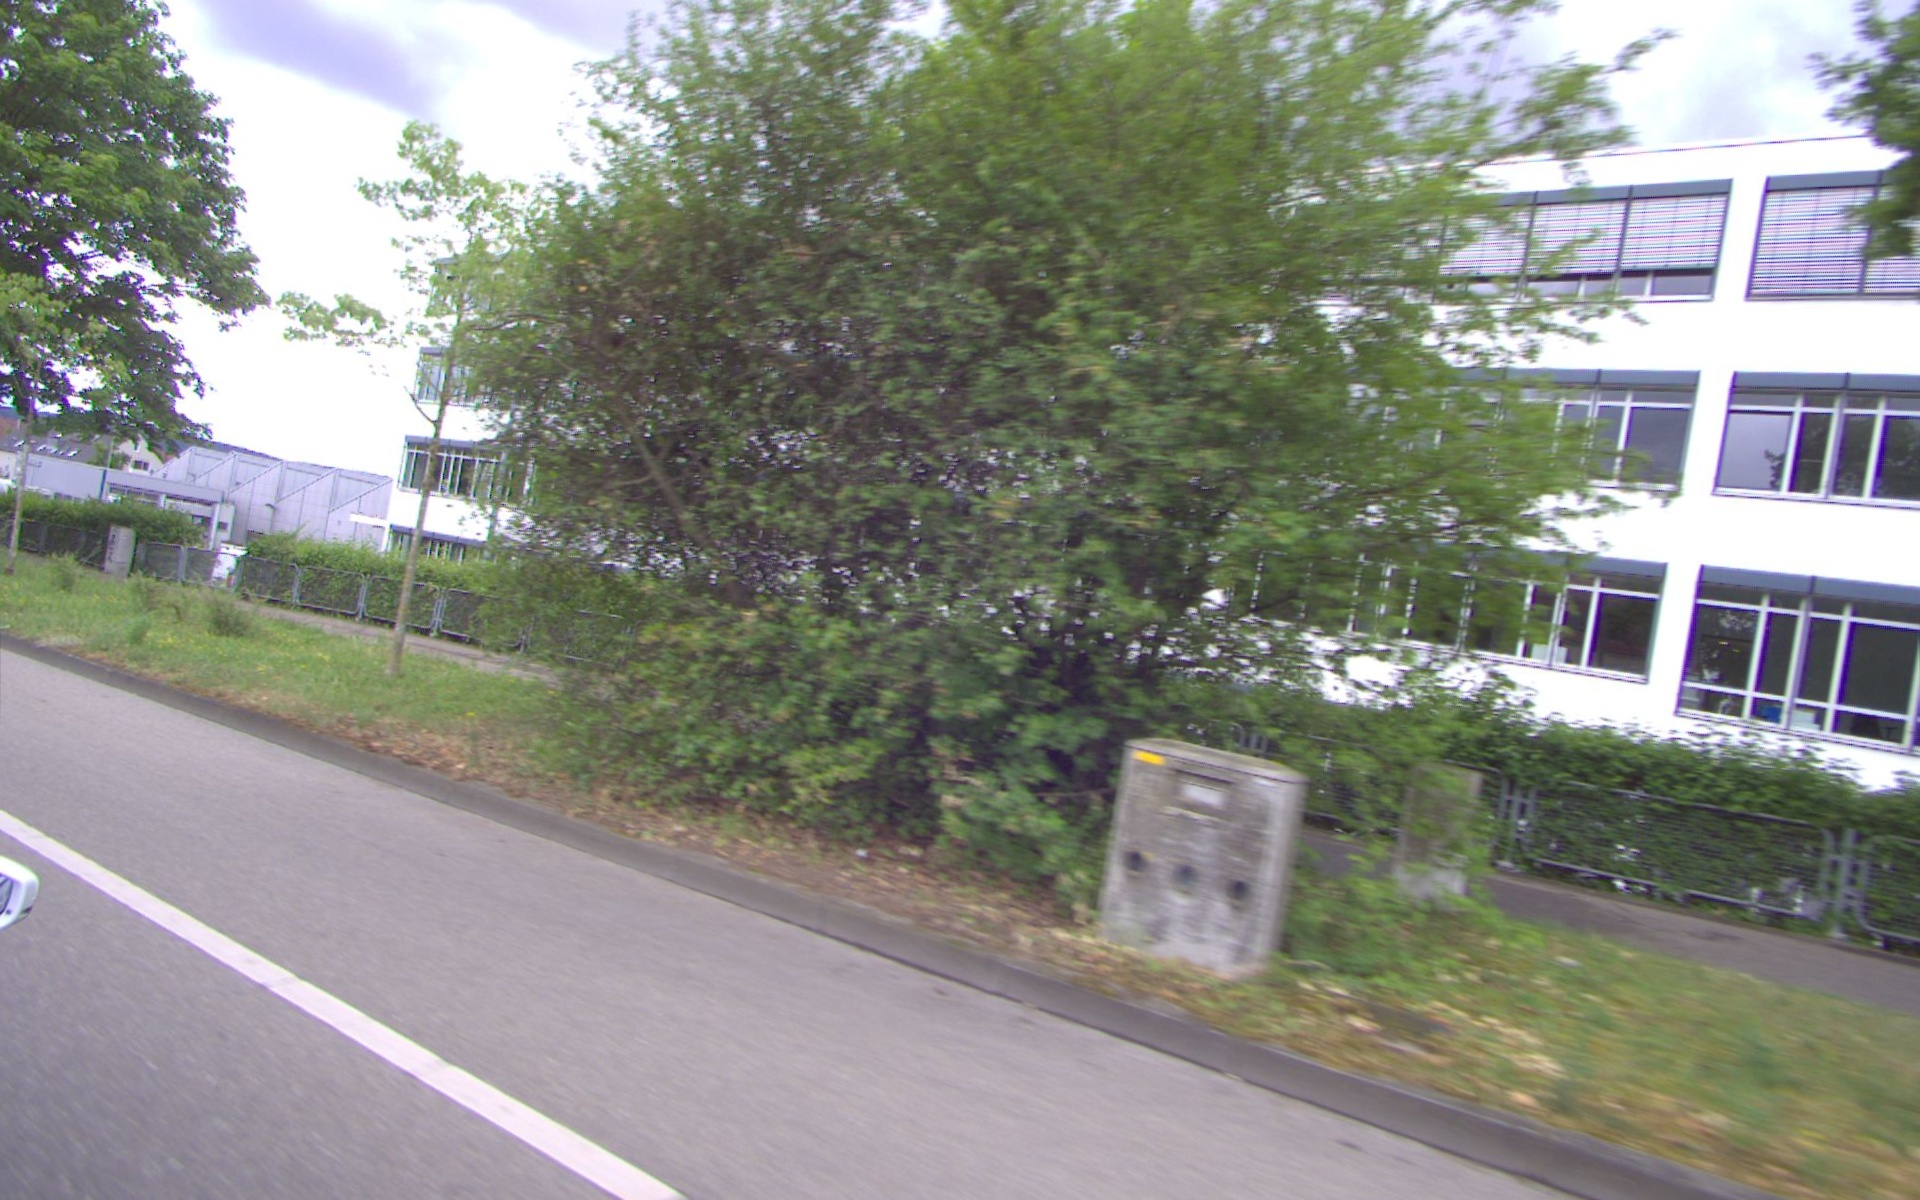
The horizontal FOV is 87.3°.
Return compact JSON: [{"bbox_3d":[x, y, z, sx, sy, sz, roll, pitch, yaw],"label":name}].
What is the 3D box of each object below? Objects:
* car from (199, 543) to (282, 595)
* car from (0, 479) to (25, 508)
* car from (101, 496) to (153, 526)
[{"bbox_3d":[-38.116,-1.640,53.273,3.934,2.169,1.998,6,-3,32],"label":"car"},{"bbox_3d":[-99.992,-11.211,104.159,2.229,2.709,5.429,9,0,-17],"label":"car"},{"bbox_3d":[-92.825,-9.867,112.252,2.229,2.709,5.429,9,0,-17],"label":"car"}]
